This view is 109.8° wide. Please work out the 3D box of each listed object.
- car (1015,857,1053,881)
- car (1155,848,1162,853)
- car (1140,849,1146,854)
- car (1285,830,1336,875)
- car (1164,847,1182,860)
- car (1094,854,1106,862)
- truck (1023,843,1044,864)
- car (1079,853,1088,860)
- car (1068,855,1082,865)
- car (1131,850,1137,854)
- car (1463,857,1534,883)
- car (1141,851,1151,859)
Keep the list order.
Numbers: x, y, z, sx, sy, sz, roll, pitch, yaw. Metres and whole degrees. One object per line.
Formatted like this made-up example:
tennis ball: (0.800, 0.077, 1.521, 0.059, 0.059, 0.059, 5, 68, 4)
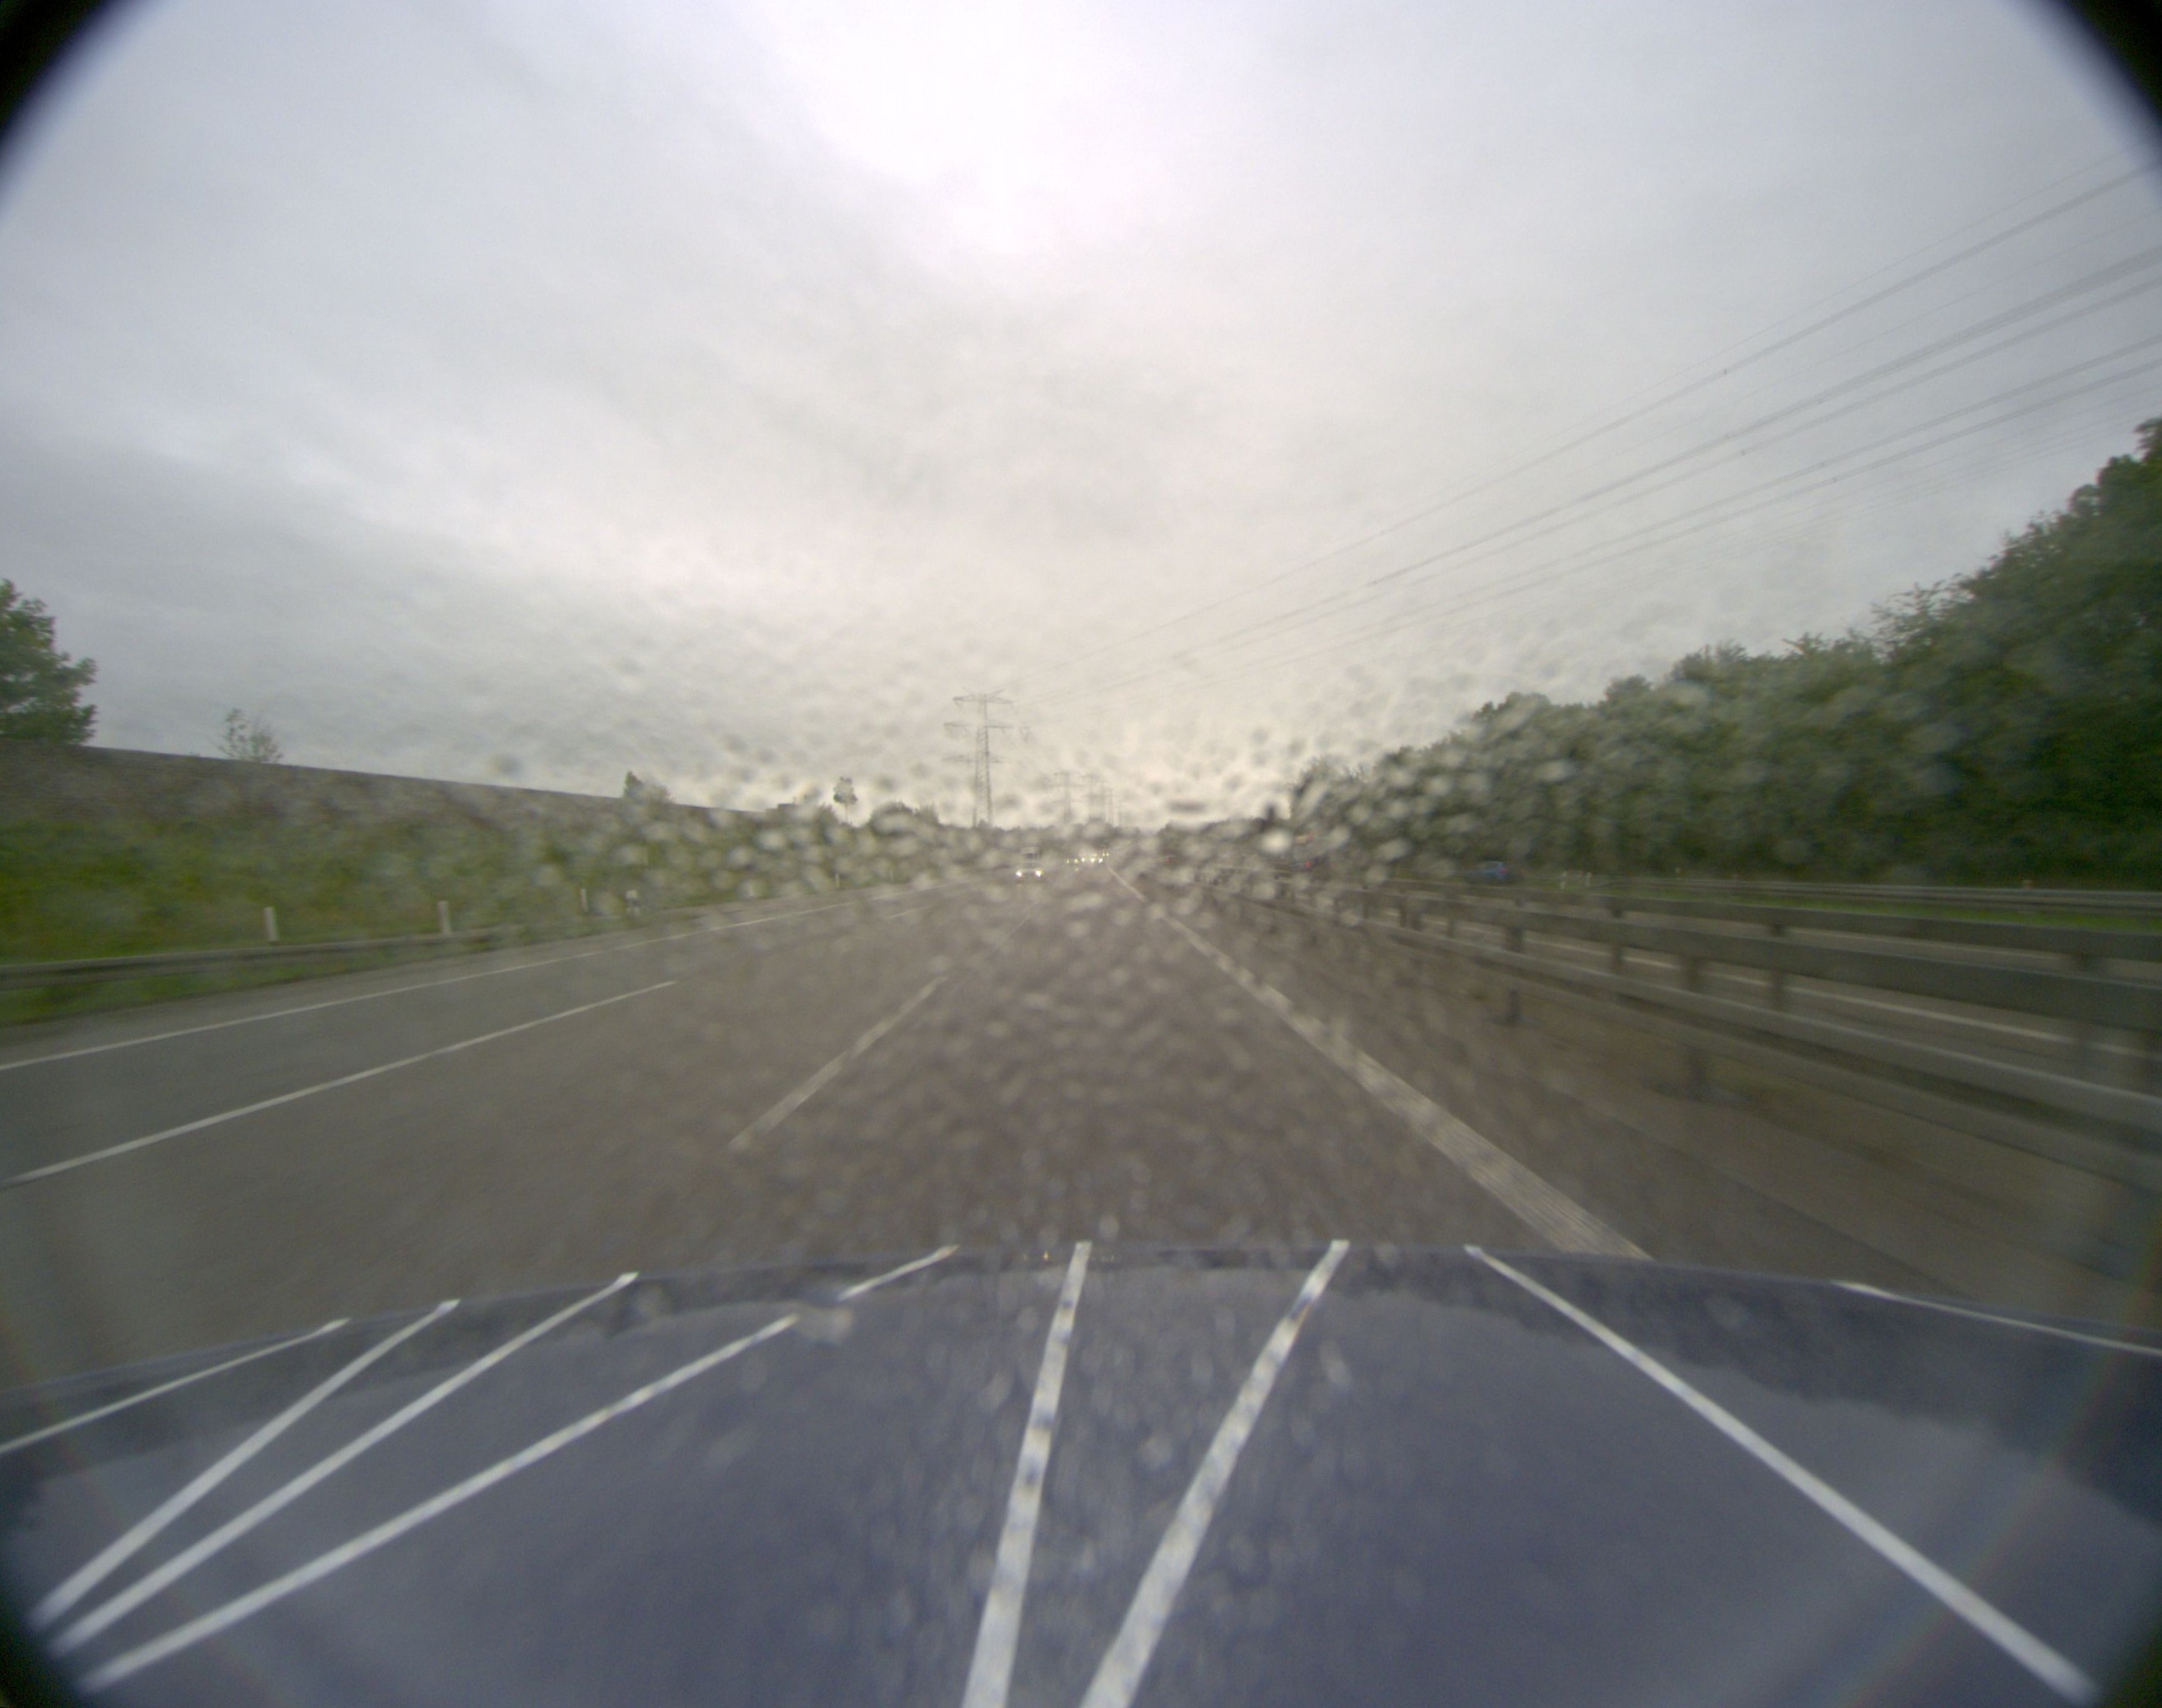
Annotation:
car: (-3.086, 0.979, 50.474, 1.998, 1.418, 4.000, -2, 1, 3)
car: (26.820, -1.185, 263.835, 1.954, 1.808, 4.916, 0, 0, 1)
car: (21.275, -1.013, 262.094, 1.909, 1.655, 4.714, 0, 0, 1)
car: (17.950, -0.115, 59.719, 2.259, 3.308, 6.175, 0, 0, 1)
car: (12.090, -0.064, 99.873, 1.928, 1.646, 4.790, 0, 0, 1)
car: (3.432, 0.733, 138.596, 1.998, 1.418, 4.000, -2, 1, 3)
truck: (-7.878, -0.115, 126.903, 2.648, 3.325, 6.931, -2, 1, 3)
car: (0.546, 0.599, 163.785, 1.856, 1.418, 4.000, -2, 1, 3)
car: (-0.929, 0.924, 121.748, 1.998, 1.418, 4.000, -2, 1, 3)
car: (17.527, -0.595, 253.014, 1.761, 1.453, 4.762, 1, 0, 1)
car: (26.213, 0.993, 47.845, 1.974, 1.534, 3.998, -1, 0, -6)
car: (13.957, 0.209, 163.151, 1.826, 1.503, 4.790, 0, 0, 1)
